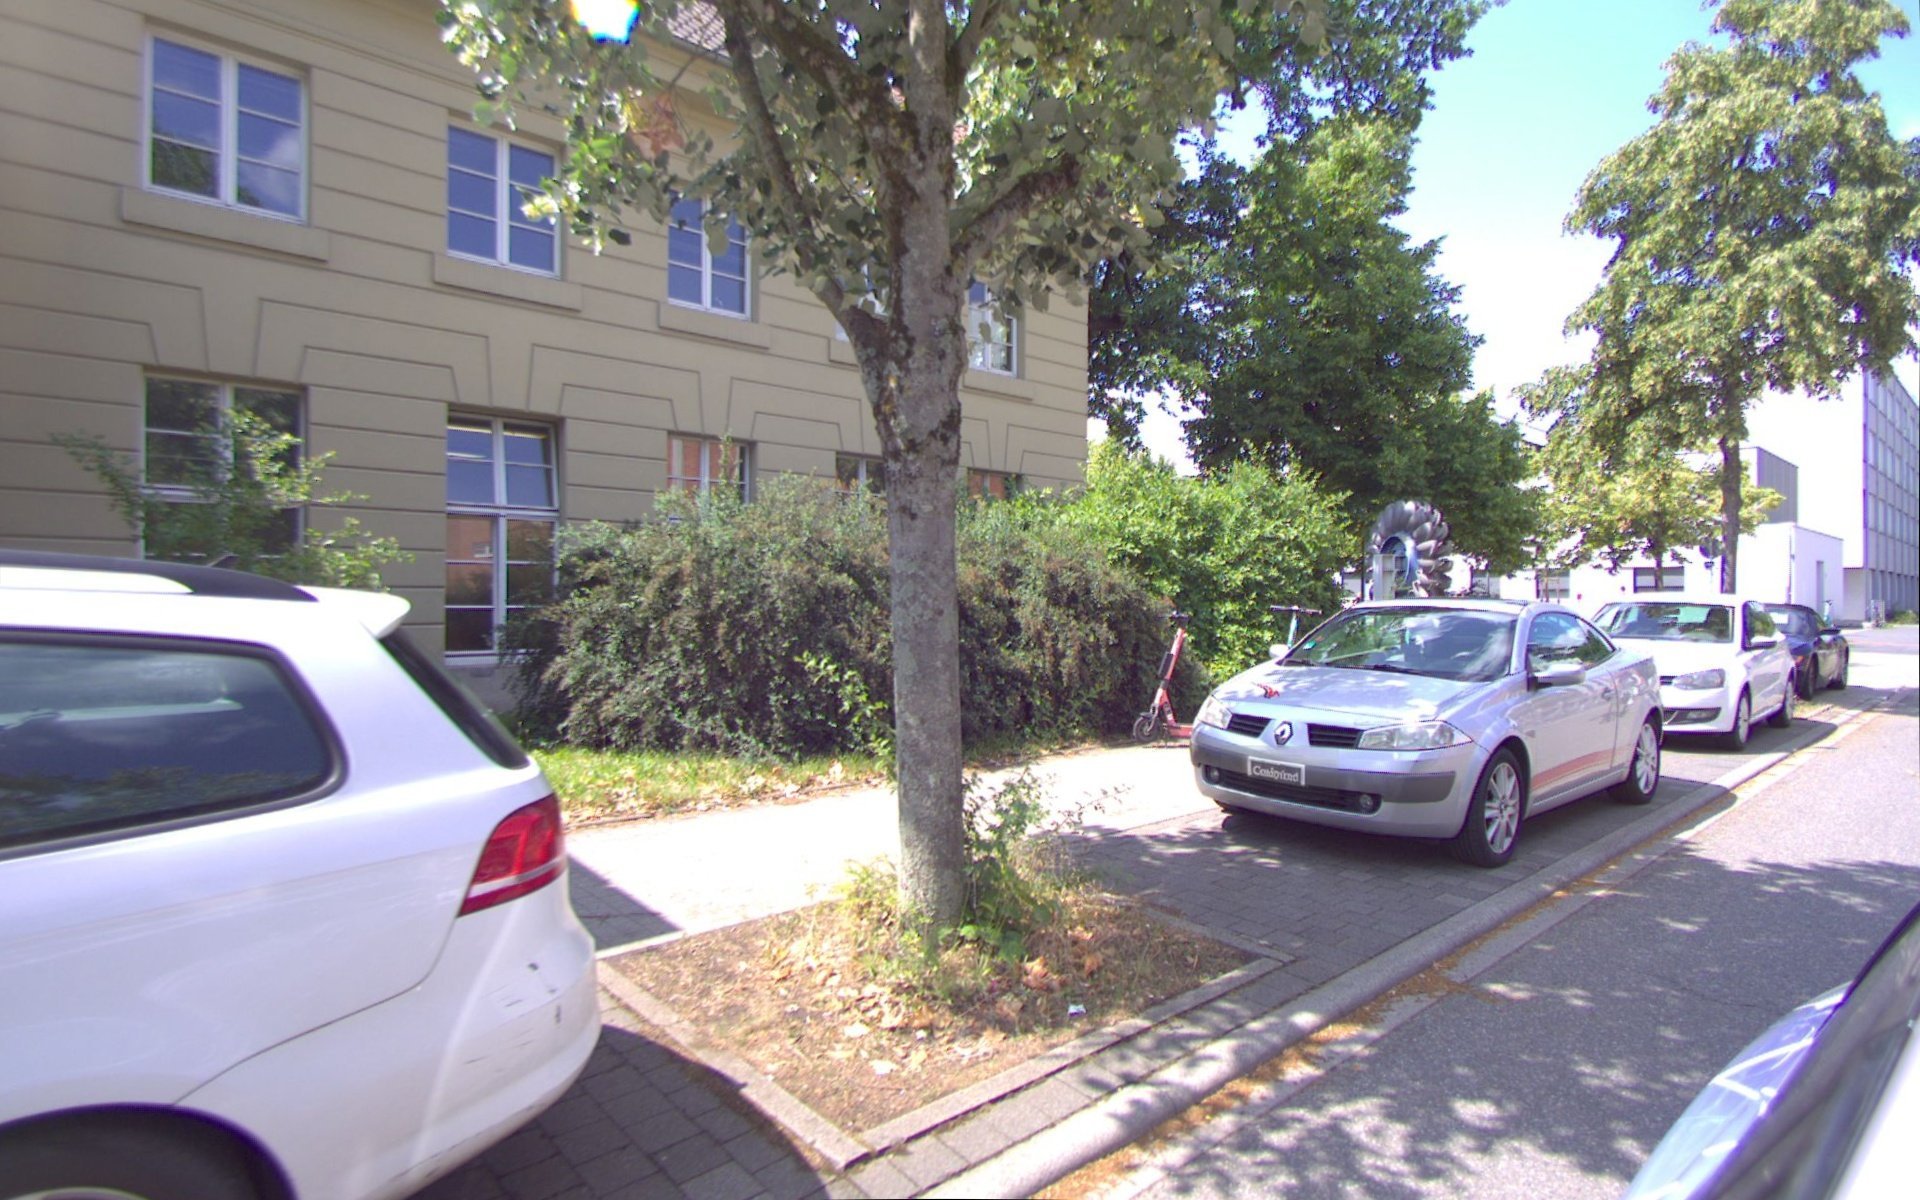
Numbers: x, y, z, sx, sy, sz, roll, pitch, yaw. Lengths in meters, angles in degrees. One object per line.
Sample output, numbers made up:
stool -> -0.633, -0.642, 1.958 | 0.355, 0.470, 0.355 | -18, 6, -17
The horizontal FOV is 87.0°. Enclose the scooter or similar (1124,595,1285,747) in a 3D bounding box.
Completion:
scooter or similar -> 2.169, 0.615, 9.053 | 1.241, 1.283, 0.597 | 2, -1, -4

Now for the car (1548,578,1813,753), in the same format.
car -> 7.617, 0.523, 10.557 | 3.923, 1.485, 1.588 | -1, 1, -44

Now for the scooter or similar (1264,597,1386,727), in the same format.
scooter or similar -> 3.718, 0.596, 10.295 | 1.212, 1.237, 0.522 | 0, 1, -32

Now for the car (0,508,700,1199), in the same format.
car -> -2.816, 0.597, 1.239 | 4.594, 1.485, 1.727 | 0, 1, -44

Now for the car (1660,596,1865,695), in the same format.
car -> 12.093, 0.585, 15.162 | 3.930, 1.296, 1.711 | 0, 0, -41

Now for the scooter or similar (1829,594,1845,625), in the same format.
scooter or similar -> 35.762, 0.400, 41.269 | 1.054, 1.251, 0.326 | 0, 0, -39

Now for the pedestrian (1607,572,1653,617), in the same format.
pedestrian -> 27.913, -0.237, 42.201 | 1.000, 1.822, 1.174 | 2, 1, -13

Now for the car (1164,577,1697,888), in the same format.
car -> 3.198, 0.570, 6.514 | 3.919, 1.408, 1.649 | -1, 1, -41
